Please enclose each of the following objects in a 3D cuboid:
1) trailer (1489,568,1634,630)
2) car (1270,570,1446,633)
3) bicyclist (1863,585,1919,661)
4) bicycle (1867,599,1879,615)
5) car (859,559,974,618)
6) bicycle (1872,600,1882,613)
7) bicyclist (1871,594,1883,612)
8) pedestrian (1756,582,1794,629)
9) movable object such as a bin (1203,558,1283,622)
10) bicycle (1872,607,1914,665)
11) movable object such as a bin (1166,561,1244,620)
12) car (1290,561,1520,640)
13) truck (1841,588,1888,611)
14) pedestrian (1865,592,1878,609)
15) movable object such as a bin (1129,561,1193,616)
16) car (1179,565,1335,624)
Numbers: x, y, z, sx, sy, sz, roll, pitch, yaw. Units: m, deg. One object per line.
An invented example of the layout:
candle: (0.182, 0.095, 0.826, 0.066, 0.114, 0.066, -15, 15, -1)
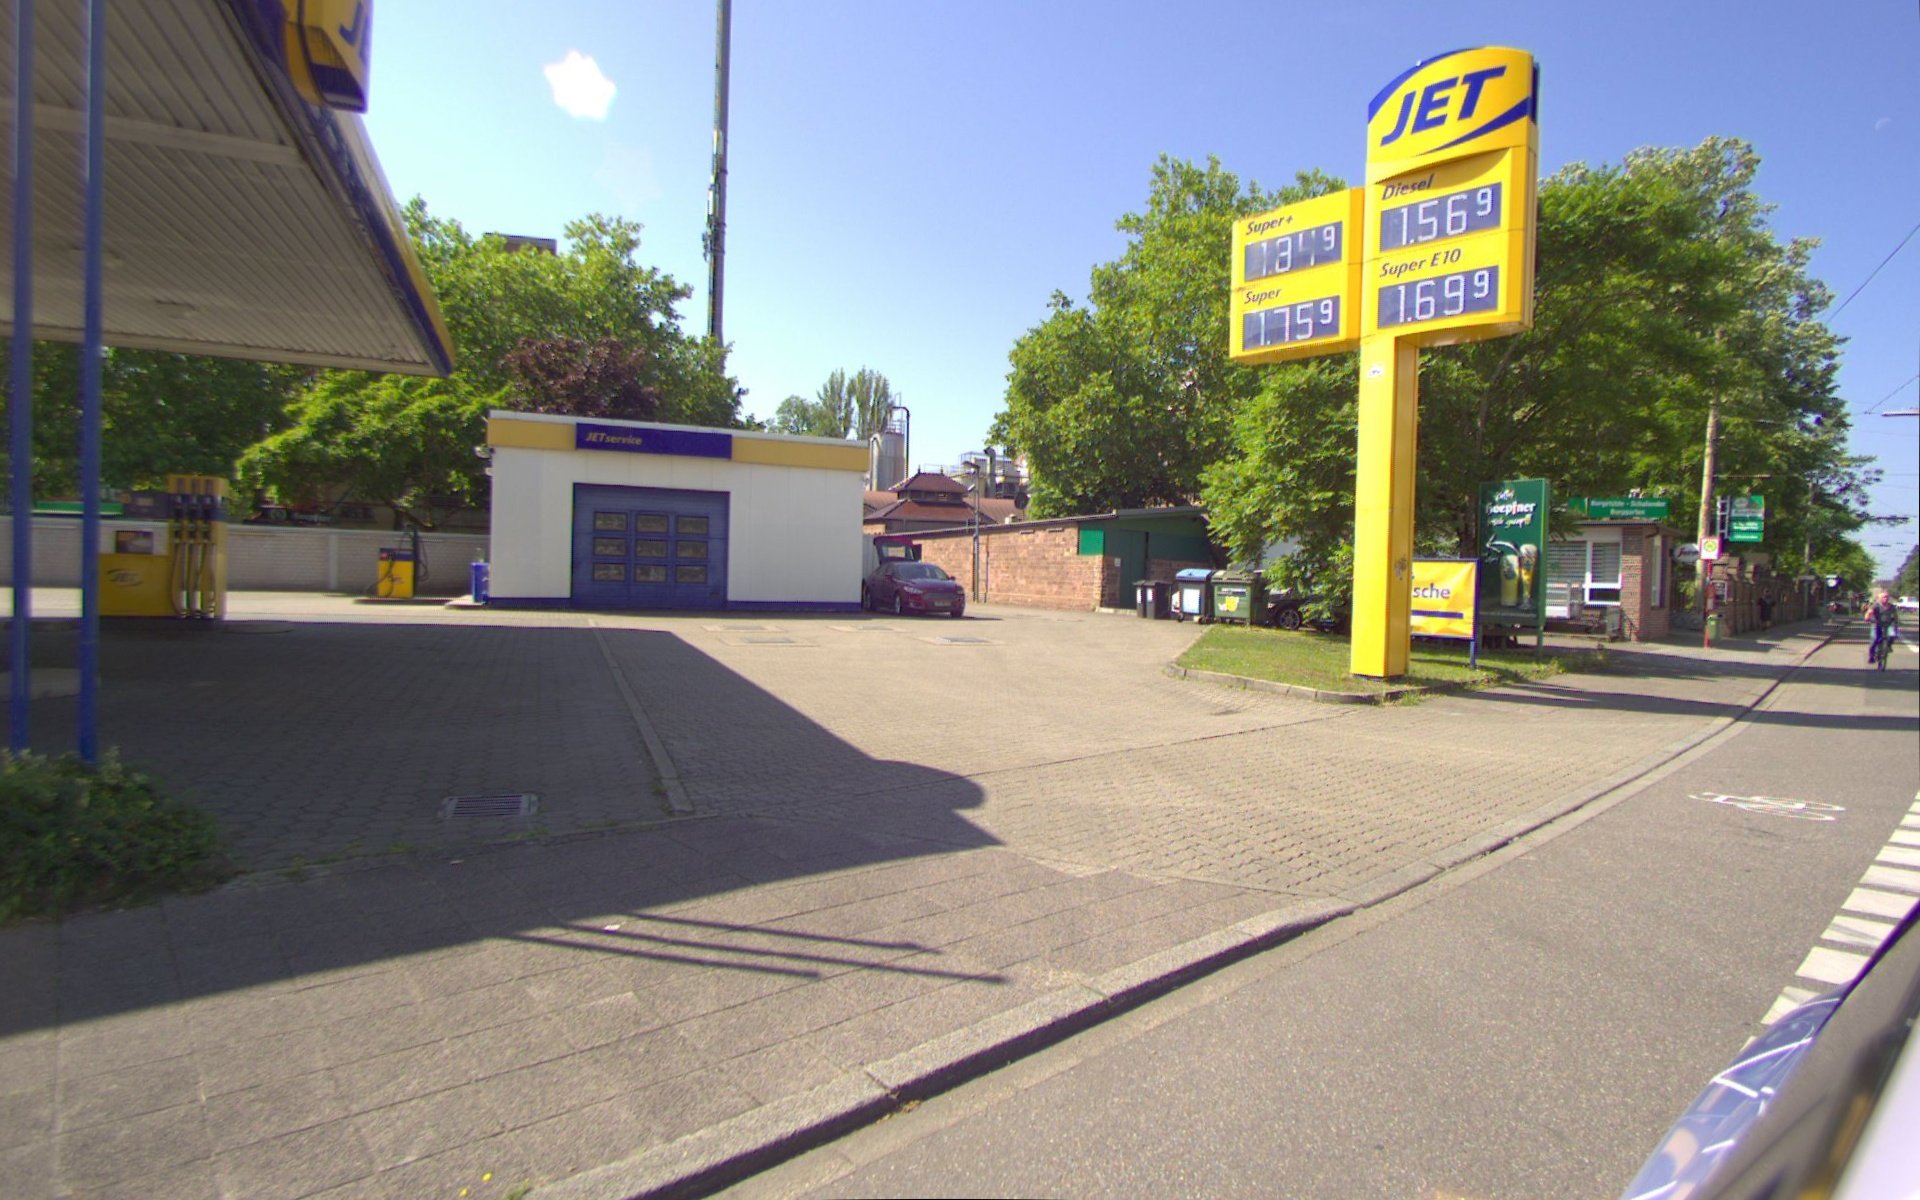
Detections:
trailer: (17.425, -0.049, 29.407, 1.695, 1.623, 3.276, 1, 2, -45)
car: (10.596, 0.018, 27.137, 3.922, 1.492, 1.849, 2, 2, -3)
bicyclist: (20.594, 0.495, 22.363, 0.903, 1.615, 0.950, 2, 1, 43)
bicycle: (108.881, 0.822, 120.711, 0.996, 1.766, 3.114, 0, 0, 43)
car: (-1.311, -0.378, 27.954, 1.853, 1.478, 4.567, 0, 2, -20)
bicycle: (82.856, 0.548, 91.467, 0.592, 1.119, 2.022, 3, 2, 43)
bicyclist: (82.711, 0.264, 91.299, 0.740, 1.550, 0.932, 3, 1, 44)
pedestrian: (33.891, 0.231, 42.089, 0.977, 1.837, 1.166, 7, 5, 43)
movable object such as a bin: (7.057, -0.255, 25.244, 1.356, 1.521, 1.419, 0, 2, -43)
bicycle: (20.666, 0.774, 22.445, 0.609, 1.212, 2.091, -1, -1, 41)
movable object such as a bin: (6.516, -0.258, 26.965, 1.352, 1.521, 1.424, 1, 1, -31)
car: (10.570, -0.020, 24.278, 4.568, 1.661, 2.022, 2, 2, -3)
truck: (169.053, -0.049, 189.077, 9.792, 3.907, 2.828, 1, 1, -25)
pedestrian: (108.805, 0.053, 120.769, 1.103, 2.039, 1.148, 0, 0, 43)
movable object such as a bin: (5.681, -0.310, 28.703, 1.303, 1.521, 1.332, 0, 0, -18)
car: (8.650, -0.185, 29.712, 3.922, 1.576, 1.849, 2, 2, -3)
